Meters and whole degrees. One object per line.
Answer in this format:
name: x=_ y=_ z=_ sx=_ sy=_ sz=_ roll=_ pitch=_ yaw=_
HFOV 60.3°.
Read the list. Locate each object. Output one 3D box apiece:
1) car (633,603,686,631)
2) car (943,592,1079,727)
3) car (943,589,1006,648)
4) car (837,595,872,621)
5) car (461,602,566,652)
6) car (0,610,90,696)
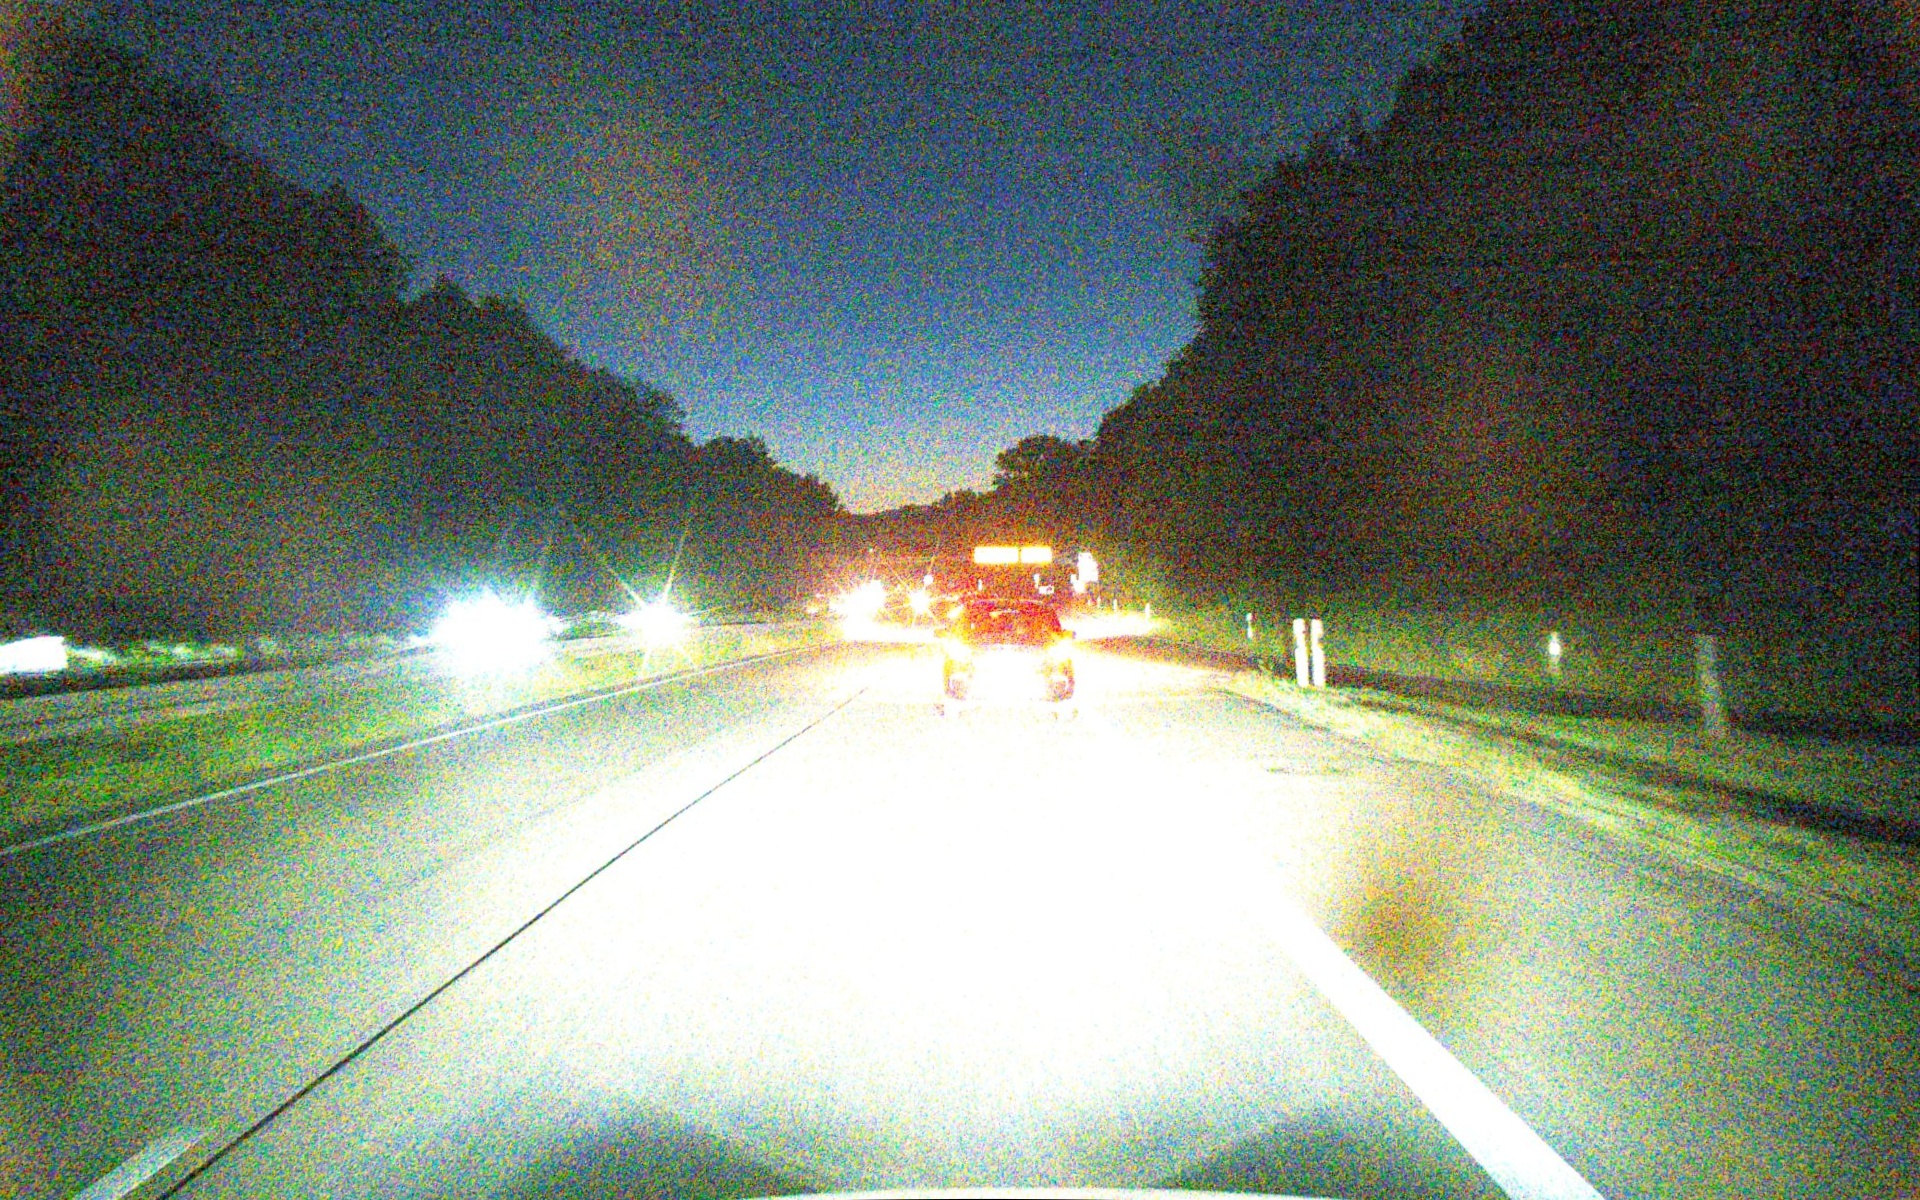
car: x=-15.550 y=0.874 z=85.865 sx=1.734 sy=1.436 sz=4.845 roll=0 pitch=0 yaw=1
car: x=0.622 y=0.690 z=21.232 sx=1.555 sy=1.534 sz=4.000 roll=1 pitch=0 yaw=1
car: x=0.455 y=0.546 z=51.173 sx=1.867 sy=1.728 sz=4.000 roll=0 pitch=1 yaw=0
car: x=-7.732 y=0.573 z=121.664 sx=1.917 sy=1.764 sz=5.082 roll=-2 pitch=0 yaw=4
car: x=-14.536 y=0.848 z=54.103 sx=1.917 sy=1.482 sz=4.473 roll=-2 pitch=0 yaw=4
car: x=-17.845 y=0.969 z=29.774 sx=1.917 sy=1.482 sz=4.172 roll=-2 pitch=0 yaw=4
